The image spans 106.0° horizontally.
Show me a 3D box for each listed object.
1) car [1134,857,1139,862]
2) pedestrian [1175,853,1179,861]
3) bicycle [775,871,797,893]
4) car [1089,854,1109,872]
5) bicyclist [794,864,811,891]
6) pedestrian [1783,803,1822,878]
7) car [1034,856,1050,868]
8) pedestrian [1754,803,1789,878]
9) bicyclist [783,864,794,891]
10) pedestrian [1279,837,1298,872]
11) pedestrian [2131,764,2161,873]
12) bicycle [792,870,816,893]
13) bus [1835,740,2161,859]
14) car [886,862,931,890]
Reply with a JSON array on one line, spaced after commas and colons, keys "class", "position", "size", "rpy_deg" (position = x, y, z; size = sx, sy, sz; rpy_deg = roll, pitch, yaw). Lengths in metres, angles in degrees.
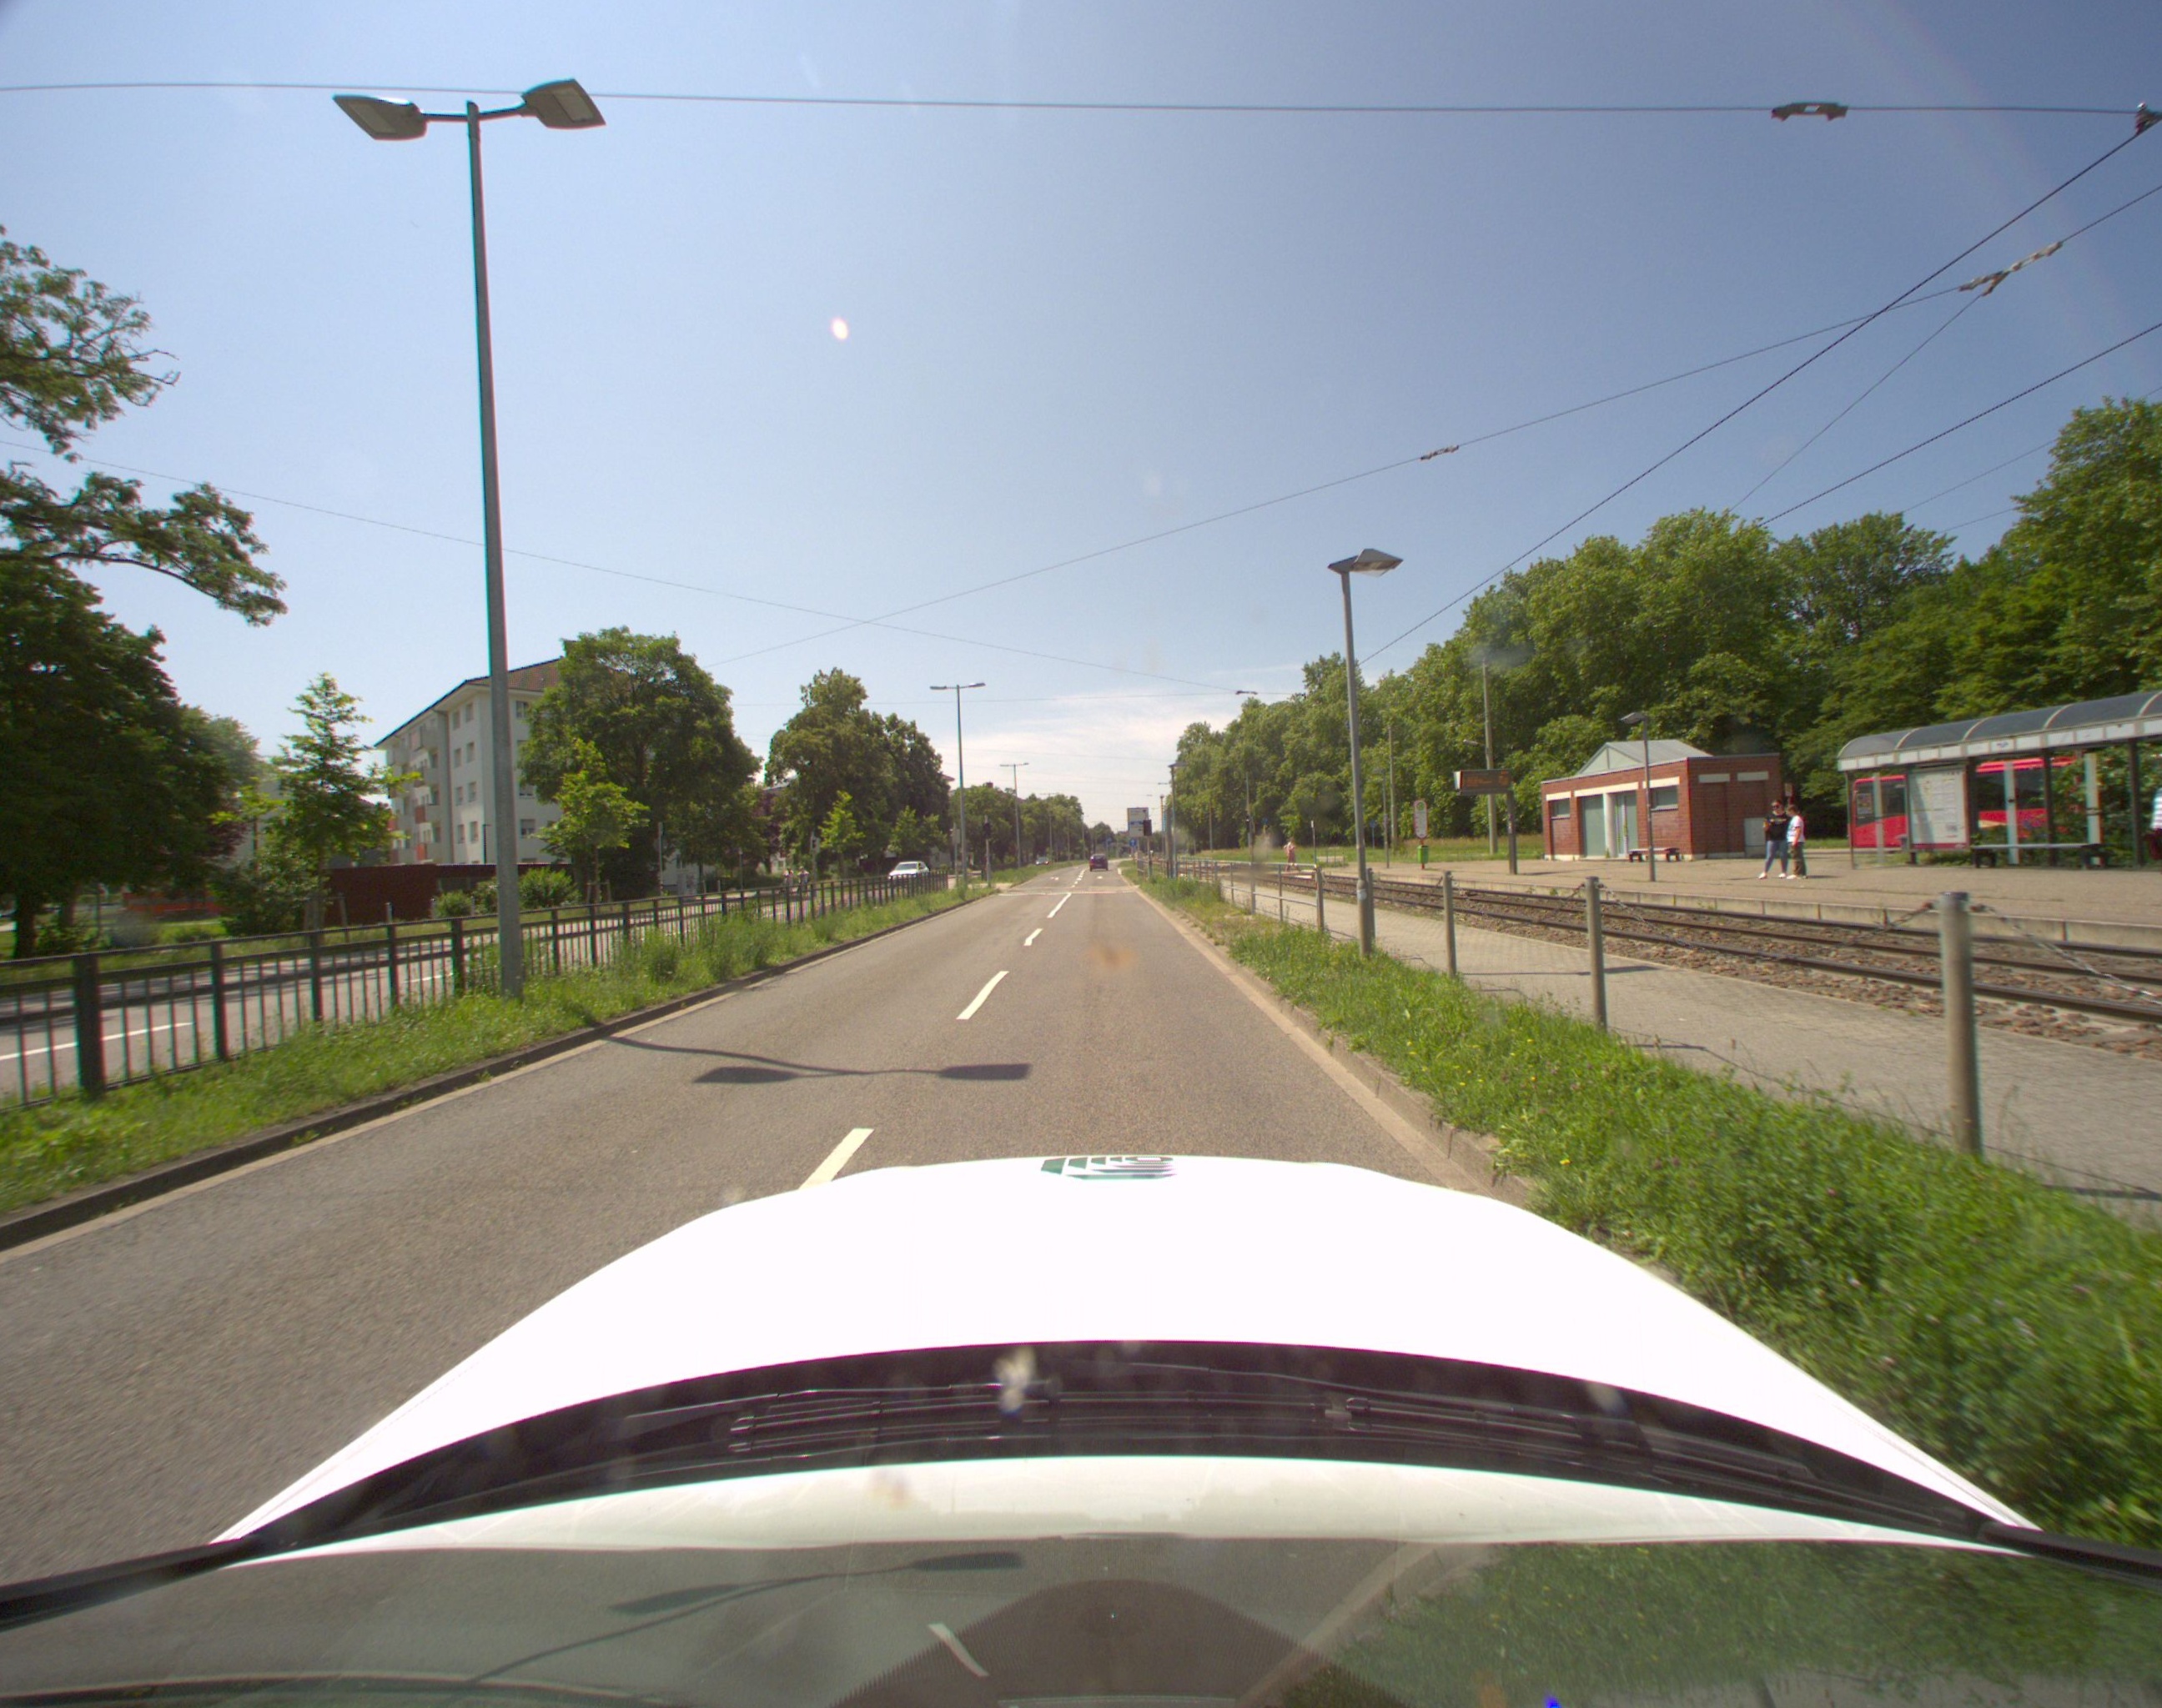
[{"class": "car", "position": [17.673, 1.707, 258.797], "size": [1.695, 1.481, 3.720], "rpy_deg": [0, -1, 4]}, {"class": "pedestrian", "position": [21.470, 0.765, 181.958], "size": [0.658, 1.726, 0.818], "rpy_deg": [-3, -1, 8]}, {"class": "bicycle", "position": [-15.074, 1.405, 41.615], "size": [0.551, 1.094, 1.380], "rpy_deg": [-1, -1, 3]}, {"class": "car", "position": [1.622, 0.783, 72.141], "size": [1.696, 1.477, 3.718], "rpy_deg": [-3, -1, 2]}, {"class": "bicyclist", "position": [-14.211, 1.195, 41.602], "size": [0.543, 1.346, 0.755], "rpy_deg": [-3, -1, 0]}, {"class": "pedestrian", "position": [15.526, -0.277, 17.538], "size": [0.358, 1.597, 0.483], "rpy_deg": [-1, -2, 4]}, {"class": "car", "position": [-5.587, 1.172, 117.572], "size": [1.748, 1.543, 4.165], "rpy_deg": [-3, 0, 4]}, {"class": "pedestrian", "position": [15.470, -0.289, 18.256], "size": [0.358, 1.646, 0.446], "rpy_deg": [-1, -2, 4]}, {"class": "bicyclist", "position": [-15.048, 1.203, 41.836], "size": [0.356, 1.392, 0.441], "rpy_deg": [-1, -1, 4]}, {"class": "pedestrian", "position": [10.515, 0.040, 41.286], "size": [0.635, 1.759, 0.813], "rpy_deg": [-1, -2, -12]}, {"class": "pedestrian", "position": [17.842, -0.586, 13.296], "size": [0.380, 1.774, 0.741], "rpy_deg": [-1, -1, 4]}, {"class": "bicycle", "position": [-14.211, 1.403, 41.864], "size": [0.586, 1.133, 1.616], "rpy_deg": [-3, 0, 2]}, {"class": "bus", "position": [33.526, -1.691, 27.253], "size": [2.767, 3.439, 12.368], "rpy_deg": [-1, -1, -18]}, {"class": "car", "position": [-10.949, 1.359, 52.005], "size": [1.814, 1.572, 4.348], "rpy_deg": [-3, 0, 1]}]
